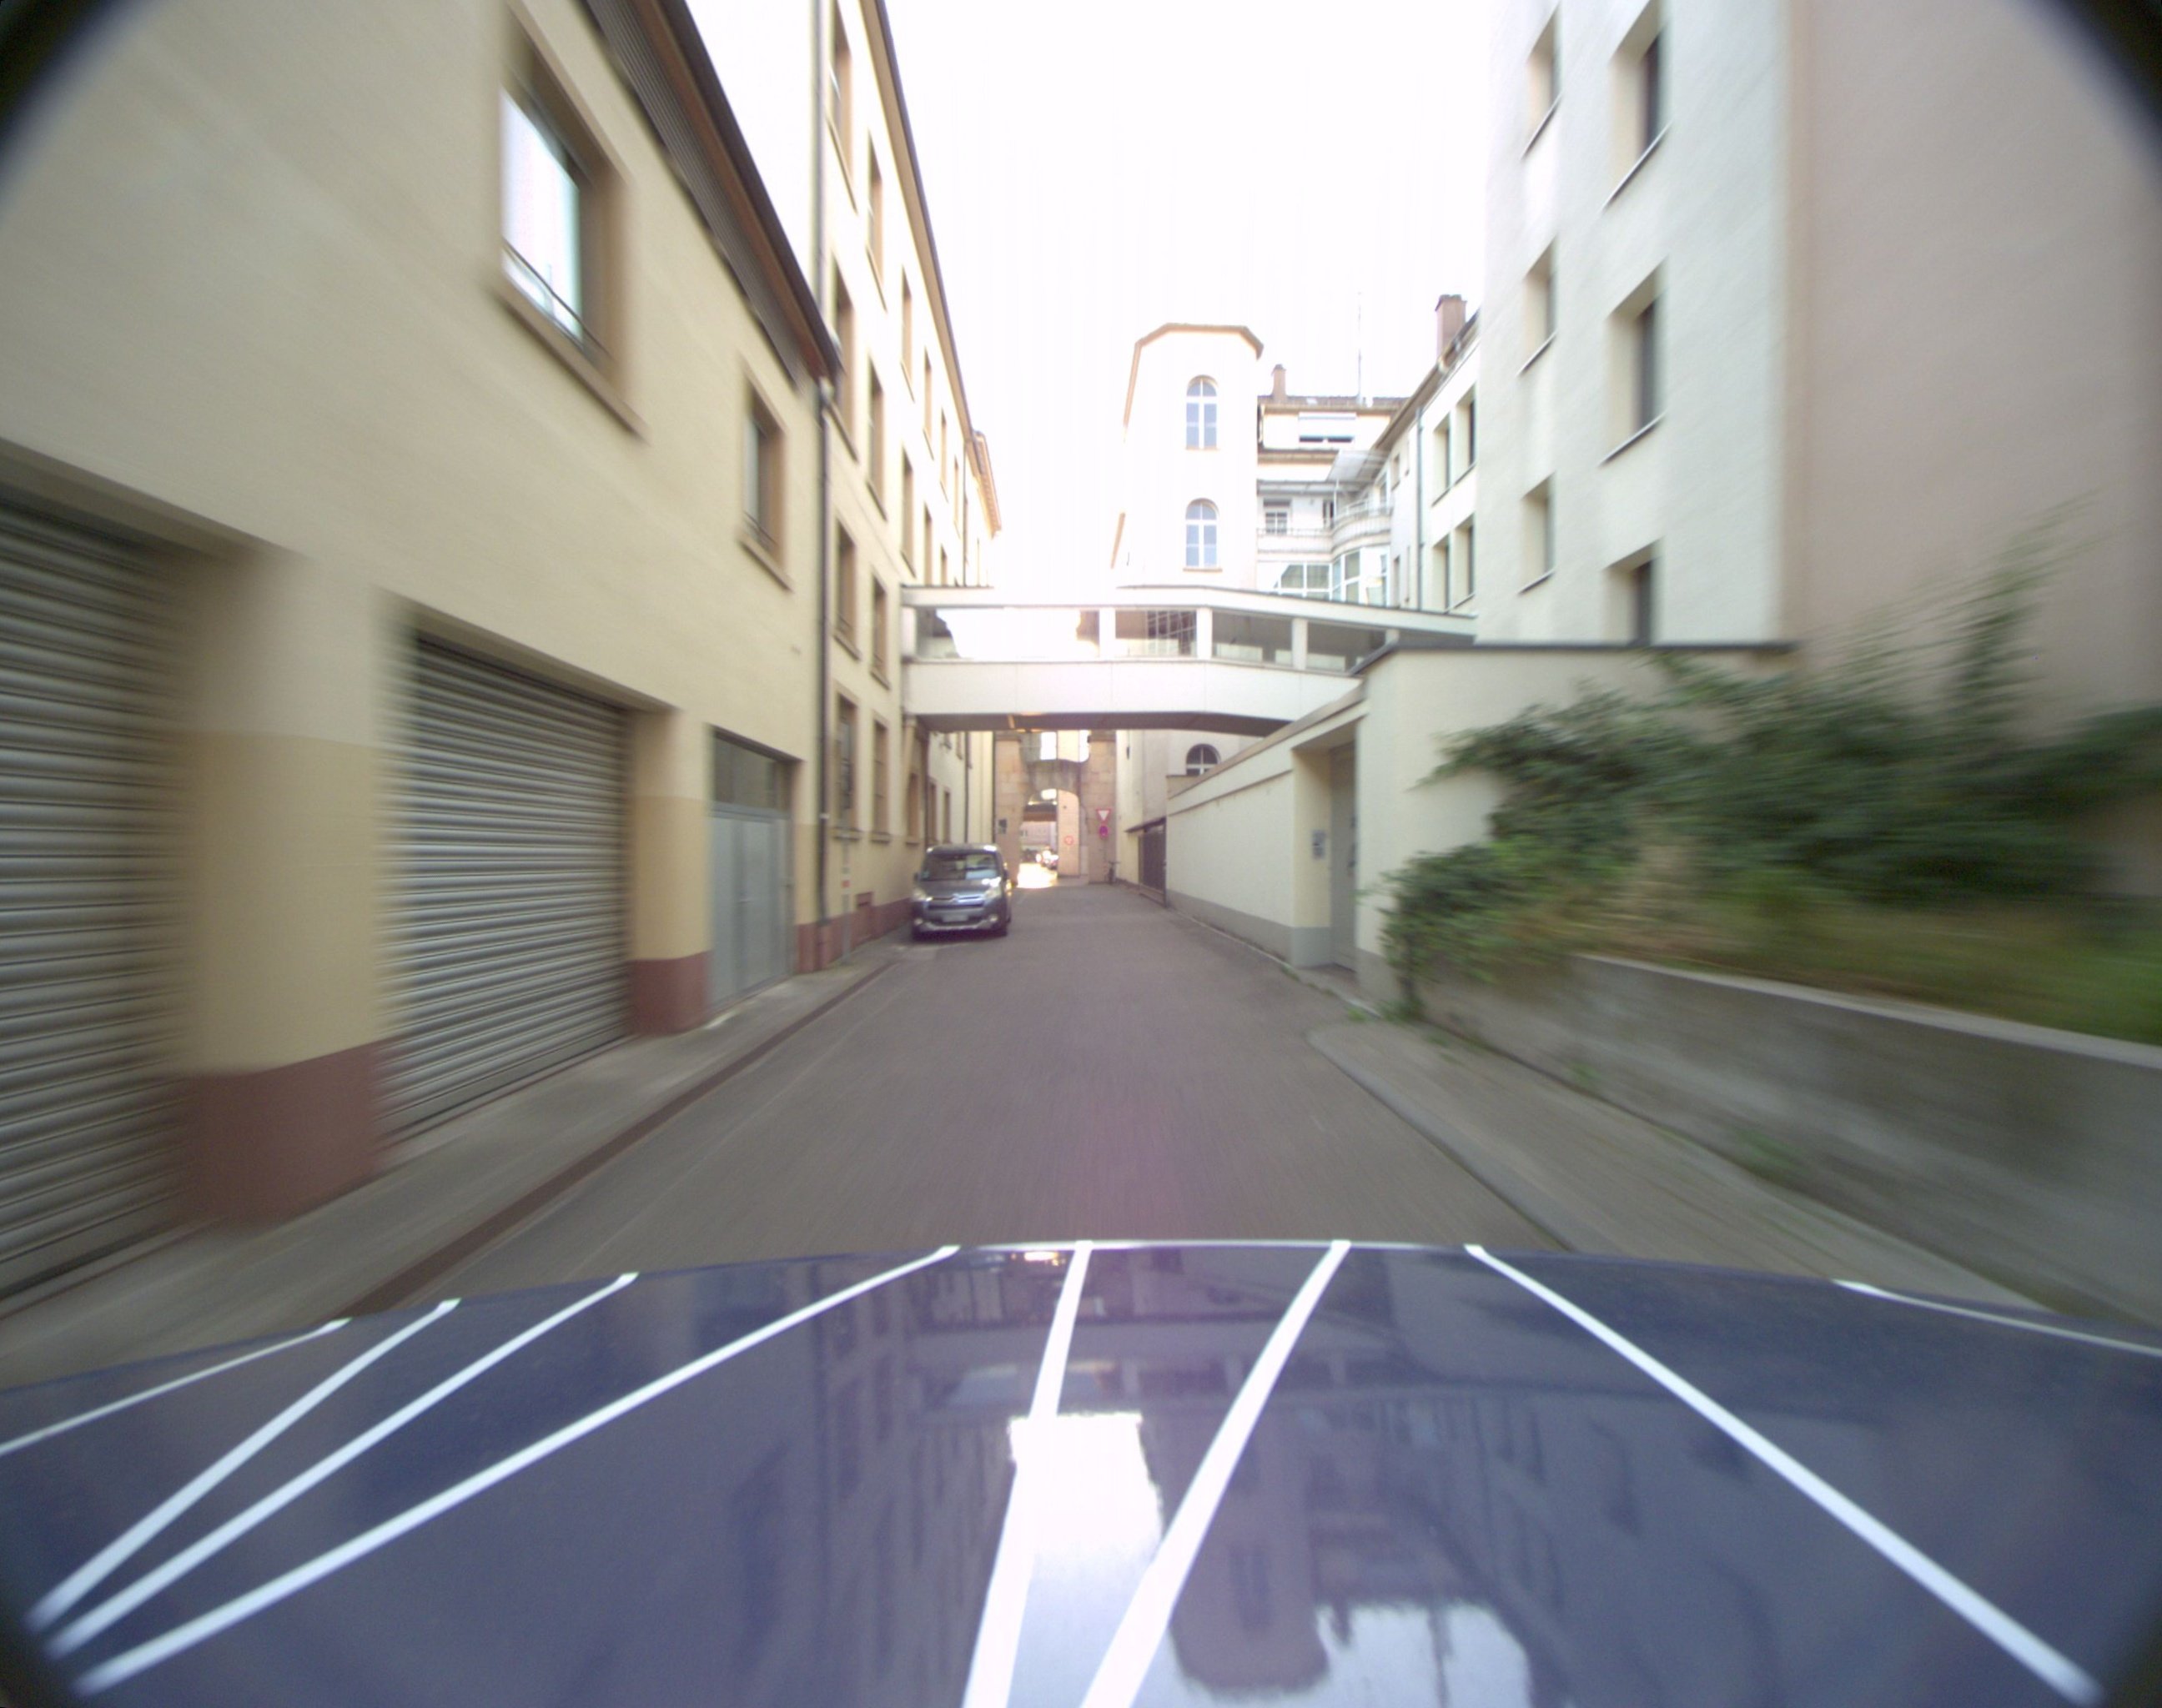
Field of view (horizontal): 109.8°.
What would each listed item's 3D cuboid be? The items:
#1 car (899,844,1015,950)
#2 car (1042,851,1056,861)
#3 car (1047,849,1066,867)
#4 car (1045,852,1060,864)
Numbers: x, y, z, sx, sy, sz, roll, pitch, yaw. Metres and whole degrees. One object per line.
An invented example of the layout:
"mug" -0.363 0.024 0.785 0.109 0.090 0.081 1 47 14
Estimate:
"car" -2.334 0.720 15.418 1.765 1.756 4.748 -2 0 -3
"car" -4.491 0.251 105.394 1.806 1.415 3.753 -2 1 -5
"car" -2.638 0.382 81.311 1.999 1.805 3.998 -2 1 -3
"car" -3.721 0.489 99.785 1.806 1.415 3.753 -2 1 -5
